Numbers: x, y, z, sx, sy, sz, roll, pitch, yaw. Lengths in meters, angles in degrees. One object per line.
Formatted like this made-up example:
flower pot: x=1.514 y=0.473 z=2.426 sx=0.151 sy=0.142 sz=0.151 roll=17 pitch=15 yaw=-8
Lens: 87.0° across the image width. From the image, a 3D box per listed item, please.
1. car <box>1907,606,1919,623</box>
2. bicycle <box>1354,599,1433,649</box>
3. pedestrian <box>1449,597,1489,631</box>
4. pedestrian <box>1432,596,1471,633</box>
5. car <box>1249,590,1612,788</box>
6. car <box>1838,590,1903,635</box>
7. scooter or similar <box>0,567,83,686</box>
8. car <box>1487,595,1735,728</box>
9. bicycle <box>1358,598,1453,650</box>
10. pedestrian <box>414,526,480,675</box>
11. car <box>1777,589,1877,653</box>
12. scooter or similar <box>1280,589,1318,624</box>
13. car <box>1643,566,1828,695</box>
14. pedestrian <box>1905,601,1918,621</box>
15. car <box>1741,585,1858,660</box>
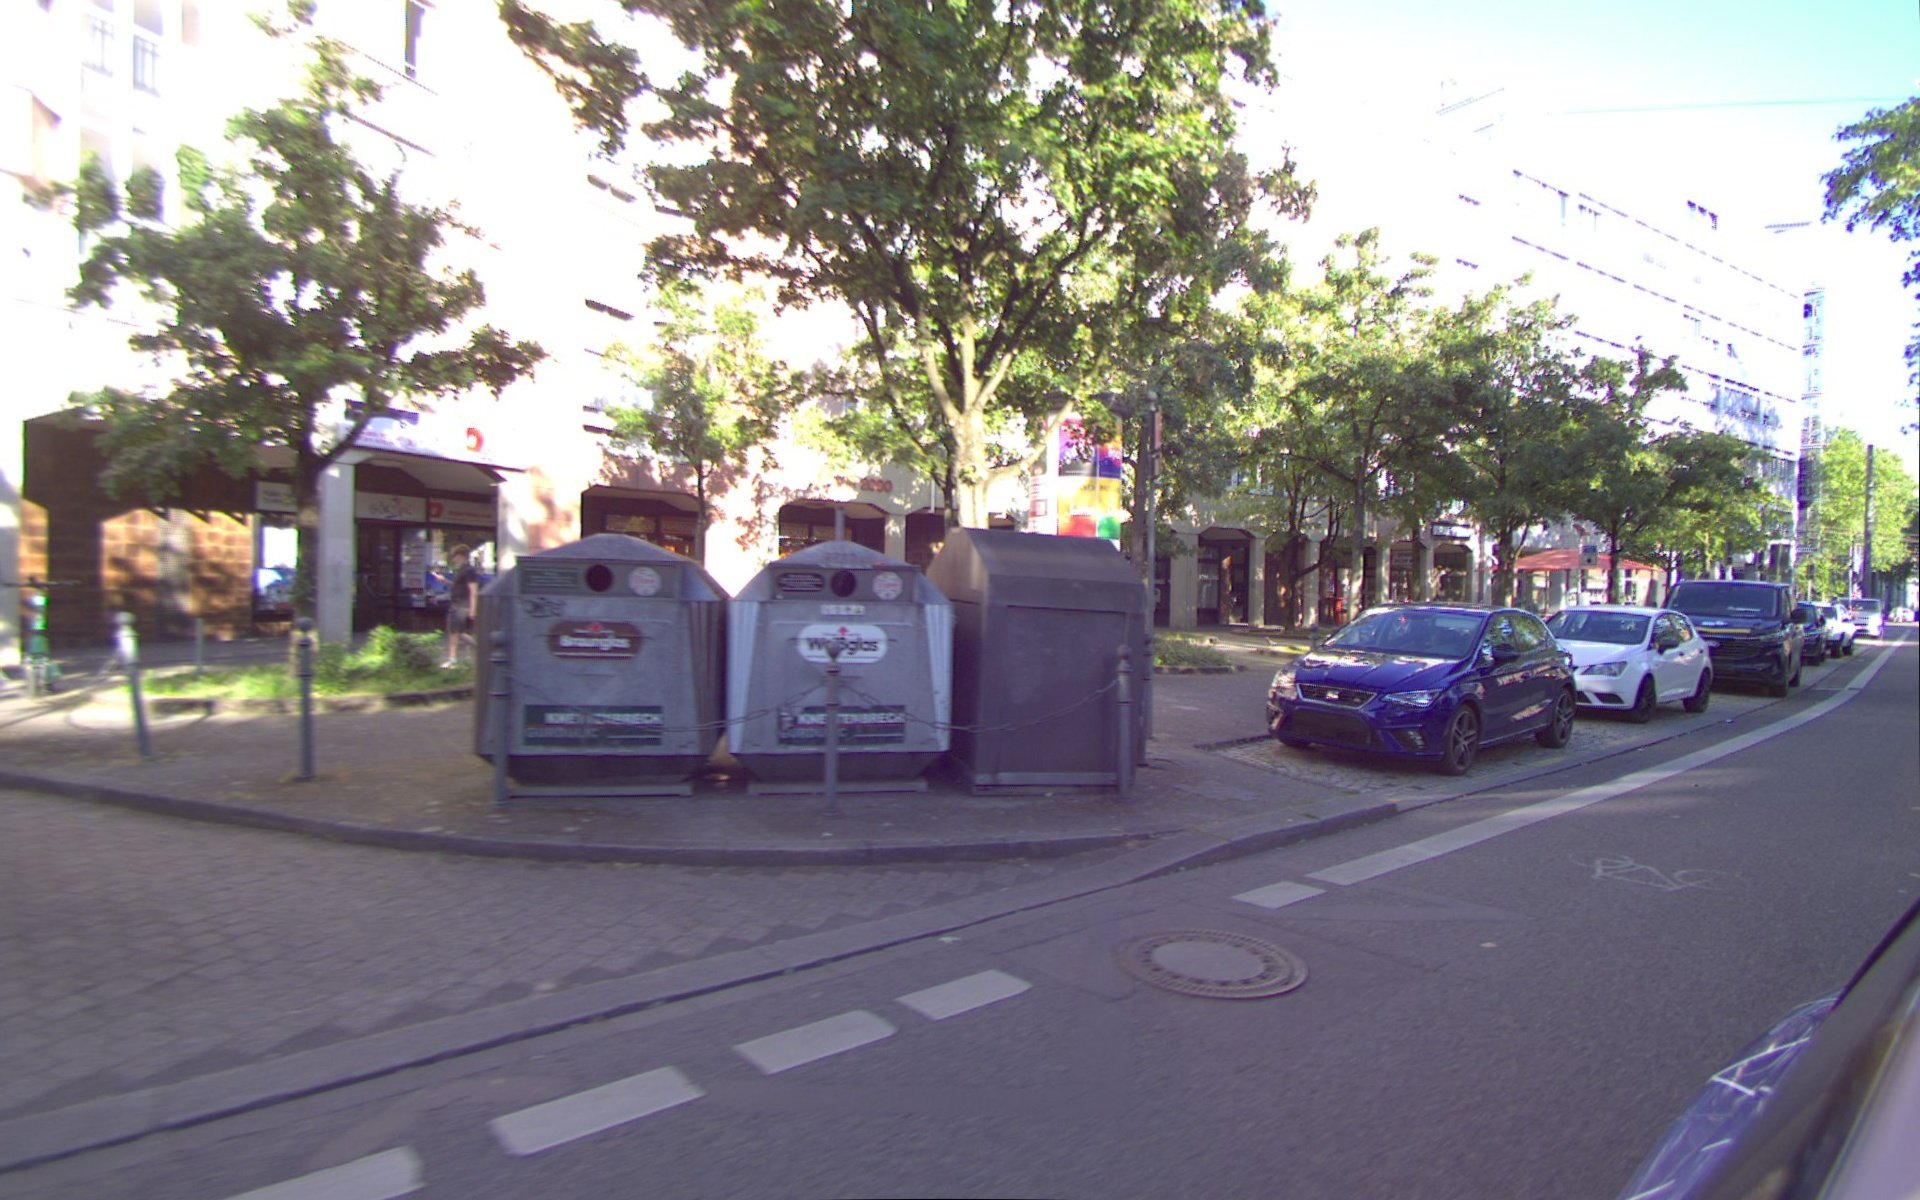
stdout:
car: x=101.379 y=1.506 z=106.883 sx=1.861 sy=1.756 sz=3.954 roll=2 pitch=1 yaw=44
bicycle: x=10.646 y=0.587 z=24.847 sx=1.872 sy=1.169 sz=0.486 roll=1 pitch=0 yaw=-17
pedestrian: x=18.679 y=0.518 z=37.123 sx=1.102 sy=1.228 sz=0.888 roll=1 pitch=0 yaw=-34
pedestrian: x=17.548 y=0.515 z=36.131 sx=0.951 sy=1.266 sz=0.931 roll=1 pitch=0 yaw=-41
car: x=4.775 y=0.709 z=9.987 sx=4.174 sy=1.502 sz=1.705 roll=1 pitch=2 yaw=-42
car: x=42.832 y=0.577 z=47.563 sx=4.781 sy=1.928 sz=1.919 roll=1 pitch=2 yaw=-45
scooter or similar: x=-9.588 y=0.250 z=10.572 sx=0.548 sy=1.160 sz=1.458 roll=1 pitch=0 yaw=-38
car: x=8.926 y=0.735 z=13.752 sx=4.101 sy=1.483 sz=1.705 roll=1 pitch=2 yaw=-41
bicycle: x=10.628 y=0.575 z=24.138 sx=2.138 sy=1.202 sz=0.657 roll=1 pitch=0 yaw=-17
pedestrian: x=-7.142 y=0.007 z=14.086 sx=0.760 sy=2.006 sz=0.642 roll=1 pitch=0 yaw=-30
car: x=26.452 y=0.611 z=30.829 sx=4.385 sy=1.745 sz=1.800 roll=1 pitch=2 yaw=-44
scooter or similar: x=12.463 y=0.238 z=37.186 sx=1.337 sy=1.271 sz=0.668 roll=1 pitch=0 yaw=-37
car: x=14.206 y=0.473 z=18.410 sx=2.039 sy=1.967 sz=5.115 roll=4 pitch=2 yaw=44
pedestrian: x=97.928 y=1.134 z=104.167 sx=0.642 sy=2.039 sz=0.648 roll=1 pitch=0 yaw=-12
car: x=22.300 y=0.554 z=26.826 sx=4.497 sy=1.745 sz=1.800 roll=1 pitch=2 yaw=-44
